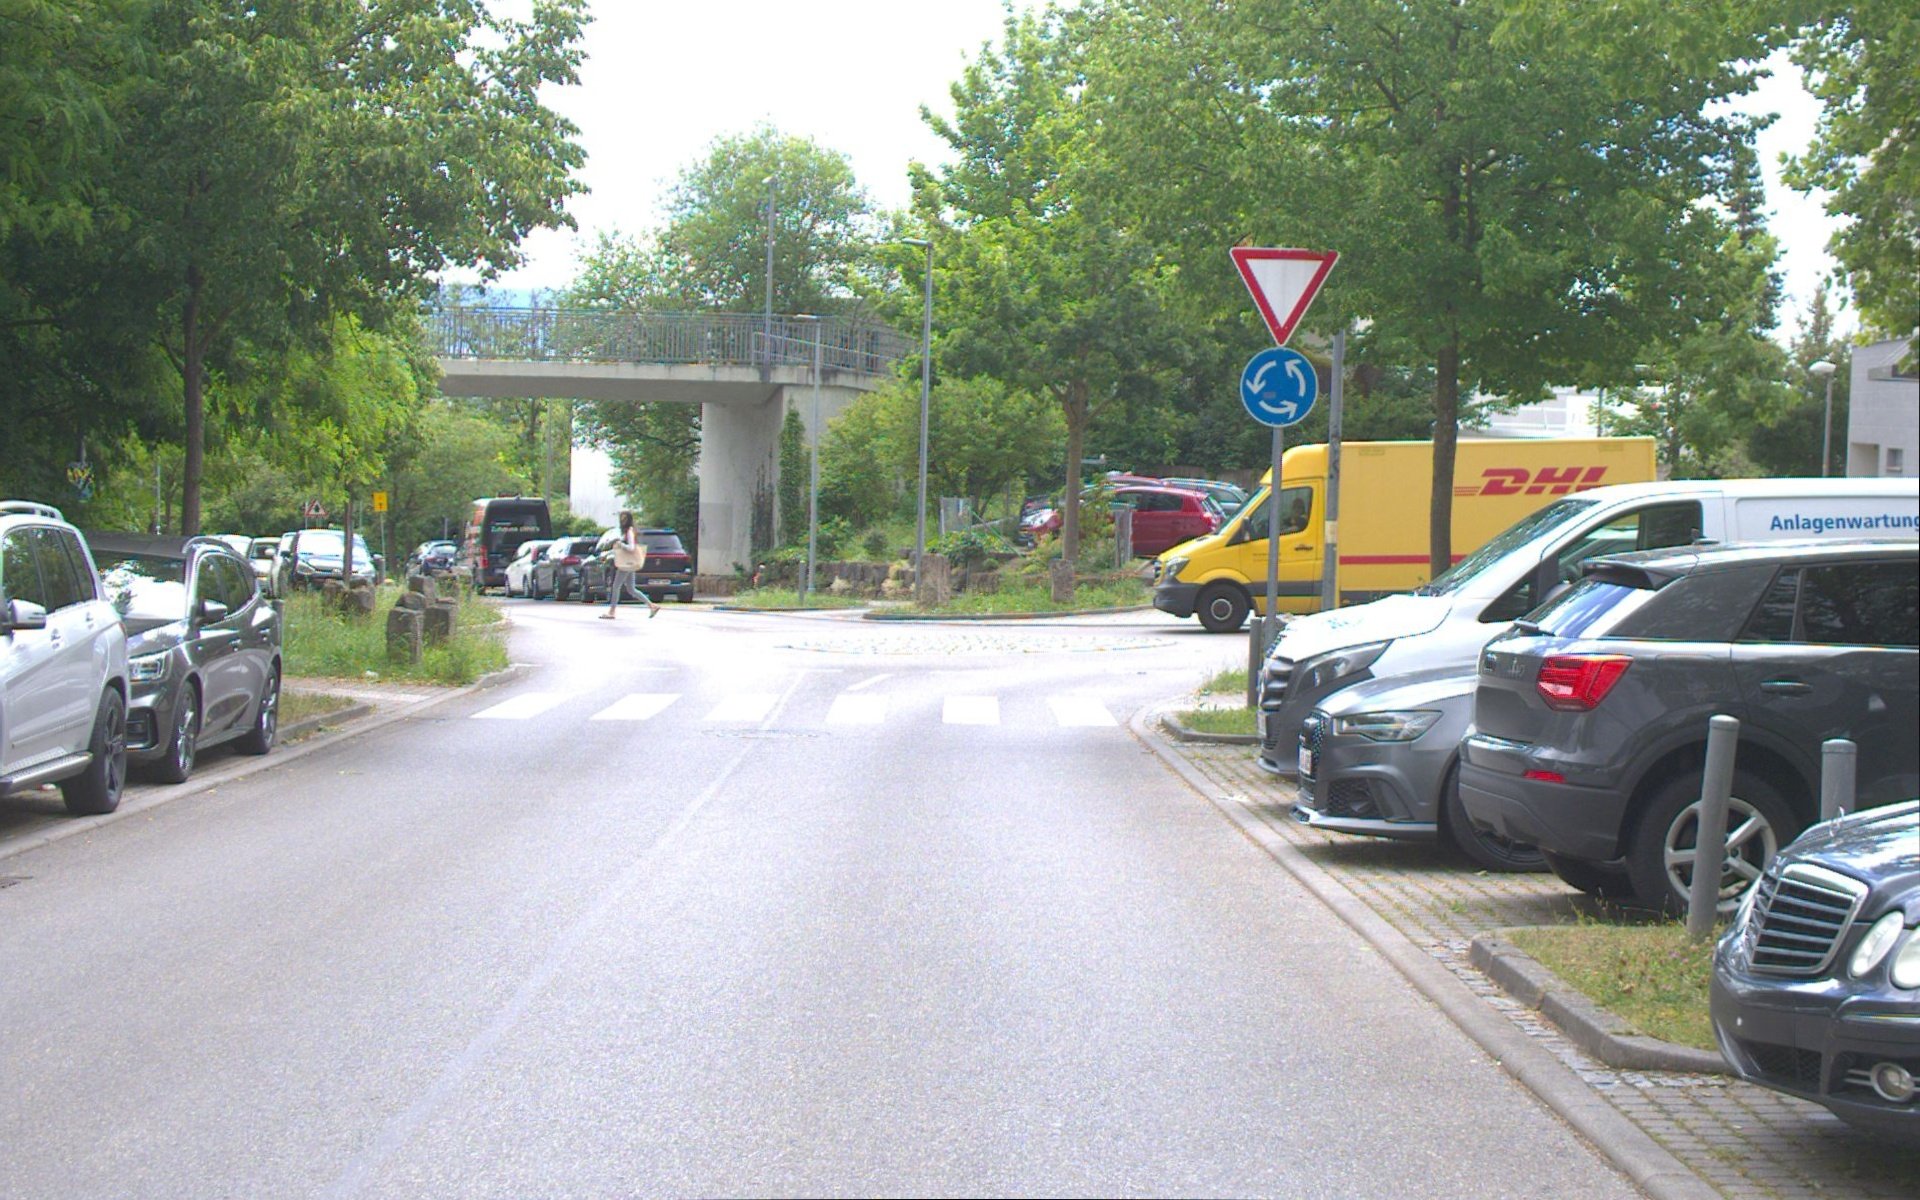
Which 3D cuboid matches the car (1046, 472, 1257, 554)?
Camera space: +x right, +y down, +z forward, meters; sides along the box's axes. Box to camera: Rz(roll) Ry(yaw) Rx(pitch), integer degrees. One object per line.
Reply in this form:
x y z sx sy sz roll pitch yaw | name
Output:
4.239 -1.926 76.167 4.544 1.662 1.944 2 2 3 | car

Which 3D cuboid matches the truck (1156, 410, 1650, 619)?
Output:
6.268 -1.180 49.257 6.803 2.693 2.473 -1 -3 5 | truck

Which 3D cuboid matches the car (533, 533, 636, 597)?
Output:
-8.945 -0.837 81.688 1.699 1.491 4.120 0 1 -17 | car

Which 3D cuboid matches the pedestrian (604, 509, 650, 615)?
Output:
-5.519 -0.635 57.013 0.657 1.716 0.739 2 1 -1 | pedestrian

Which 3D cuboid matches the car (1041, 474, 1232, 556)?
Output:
3.784 -1.827 73.542 3.987 1.608 1.944 2 2 3 | car

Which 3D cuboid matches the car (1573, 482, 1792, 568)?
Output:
14.517 -1.513 69.259 4.120 1.588 1.692 2 2 6 | car

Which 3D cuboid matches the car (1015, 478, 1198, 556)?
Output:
3.057 -1.726 71.241 3.650 1.493 1.684 2 2 6 | car

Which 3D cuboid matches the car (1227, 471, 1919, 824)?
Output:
3.983 0.223 19.147 4.773 1.825 1.843 -1 1 -2 | car

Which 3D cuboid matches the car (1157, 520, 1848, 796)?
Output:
3.445 0.344 22.373 4.150 1.597 1.739 2 2 -1 | car

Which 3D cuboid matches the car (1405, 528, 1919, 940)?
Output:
3.879 0.471 13.891 3.824 1.514 1.912 -1 1 -3 | car

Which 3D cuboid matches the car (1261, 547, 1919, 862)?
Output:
3.483 0.451 16.474 3.824 1.366 1.843 -1 1 -3 | car

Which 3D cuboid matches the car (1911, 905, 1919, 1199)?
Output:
3.640 0.691 5.180 3.988 1.514 1.883 2 1 7 | car

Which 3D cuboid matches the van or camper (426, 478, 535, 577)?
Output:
-12.893 -1.917 92.207 1.993 2.514 5.472 -2 1 -17 | van or camper

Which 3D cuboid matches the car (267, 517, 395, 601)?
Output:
-12.121 -0.804 66.068 1.785 1.463 4.002 1 2 -19 | car

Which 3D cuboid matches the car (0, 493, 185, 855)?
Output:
-5.280 0.281 16.937 1.799 1.610 4.478 4 2 0 | car

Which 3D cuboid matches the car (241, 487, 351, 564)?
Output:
-13.578 -1.536 70.186 1.884 1.455 3.548 1 2 -16 | car

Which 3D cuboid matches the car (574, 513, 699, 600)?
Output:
-7.129 -0.929 75.350 1.813 1.673 4.371 0 -2 -18 | car

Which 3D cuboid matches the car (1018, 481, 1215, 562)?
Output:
3.020 -1.510 66.003 3.650 1.434 1.684 2 2 6 | car

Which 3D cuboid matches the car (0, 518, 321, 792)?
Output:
-5.453 0.269 22.270 1.690 1.460 4.457 4 2 0 | car

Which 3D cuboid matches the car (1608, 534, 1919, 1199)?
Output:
4.073 0.602 8.287 4.574 1.487 1.952 0 1 -4 | car

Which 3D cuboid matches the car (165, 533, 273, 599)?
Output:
-17.746 -0.823 82.222 1.884 1.504 4.453 1 0 -20 | car
